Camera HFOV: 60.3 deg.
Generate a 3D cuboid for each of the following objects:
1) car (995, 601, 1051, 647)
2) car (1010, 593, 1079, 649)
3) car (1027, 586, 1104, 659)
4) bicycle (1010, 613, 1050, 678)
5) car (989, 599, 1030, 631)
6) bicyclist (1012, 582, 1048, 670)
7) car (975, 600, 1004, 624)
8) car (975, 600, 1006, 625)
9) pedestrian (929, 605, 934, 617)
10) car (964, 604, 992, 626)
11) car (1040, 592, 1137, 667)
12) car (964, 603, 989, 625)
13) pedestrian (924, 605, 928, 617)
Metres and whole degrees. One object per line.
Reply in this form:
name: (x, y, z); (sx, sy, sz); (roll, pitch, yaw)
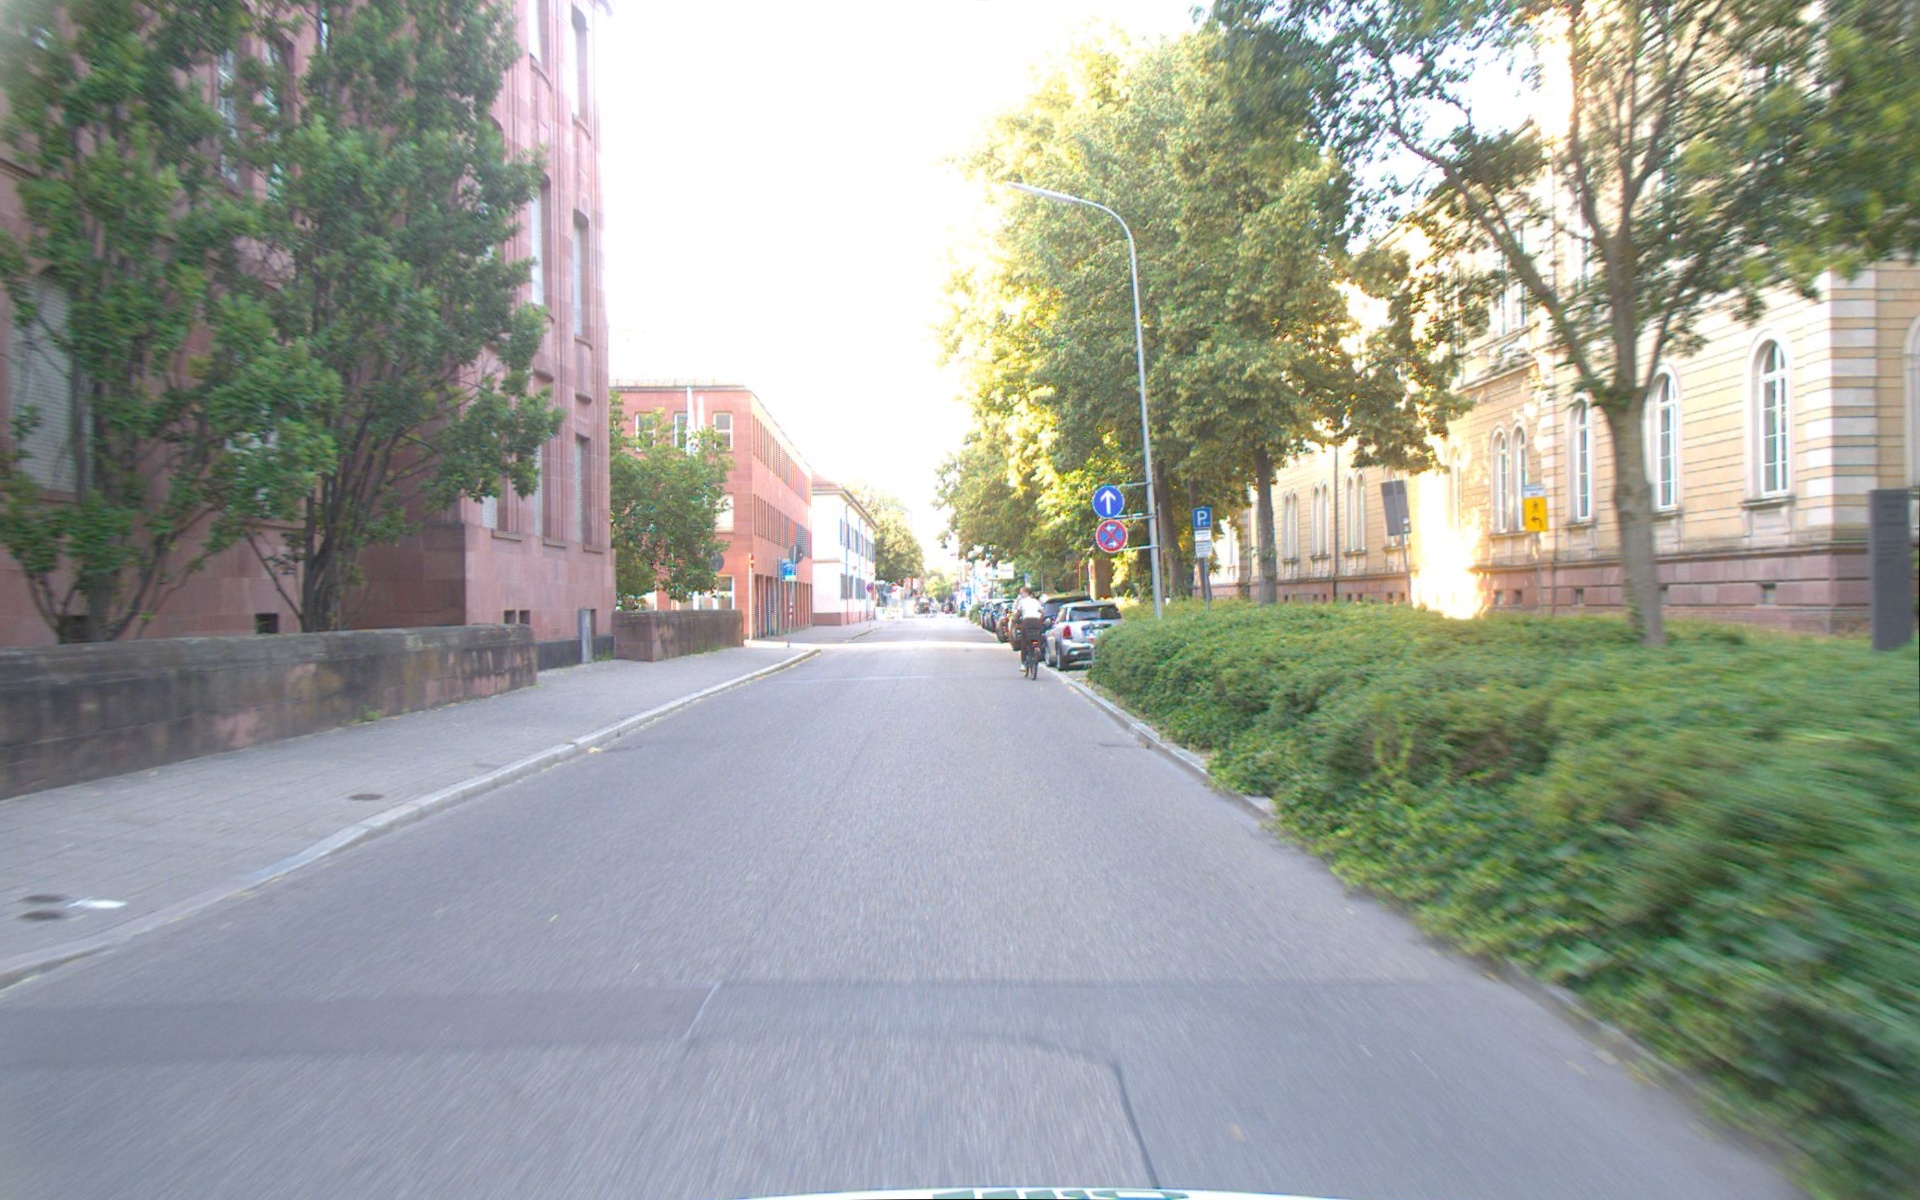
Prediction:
car: (2.475, 0.931, 66.181); (1.953, 1.736, 3.999); (-2, 0, -2)
car: (2.490, 0.594, 49.816); (1.681, 1.564, 4.046); (-1, 0, -2)
car: (2.688, 0.546, 42.956); (1.680, 1.742, 4.472); (-1, 0, 0)
bicycle: (1.360, 0.865, 32.264); (0.625, 1.214, 1.875); (1, 0, -2)
car: (2.620, 0.798, 88.157); (1.953, 1.612, 3.999); (-2, 0, -2)
bicyclist: (1.364, 0.507, 32.283); (0.626, 1.696, 0.842); (1, 0, -2)
car: (2.211, 0.891, 124.644); (1.953, 1.779, 3.999); (-2, 0, -2)
car: (2.067, 0.850, 113.059); (1.953, 1.657, 3.999); (-2, 0, -2)
pedestrian: (-3.464, 1.330, 201.618); (0.523, 1.497, 0.448); (-2, 0, -3)
car: (1.601, 1.307, 146.747); (2.235, 1.886, 4.908); (-2, 0, -2)
car: (2.798, 0.654, 36.616); (1.652, 1.472, 3.670); (-4, -1, -2)
car: (1.702, 1.430, 174.464); (2.443, 2.234, 4.908); (-2, 0, -2)
pedestrian: (-4.172, 1.356, 203.794); (0.523, 1.497, 0.448); (-2, 0, -3)
